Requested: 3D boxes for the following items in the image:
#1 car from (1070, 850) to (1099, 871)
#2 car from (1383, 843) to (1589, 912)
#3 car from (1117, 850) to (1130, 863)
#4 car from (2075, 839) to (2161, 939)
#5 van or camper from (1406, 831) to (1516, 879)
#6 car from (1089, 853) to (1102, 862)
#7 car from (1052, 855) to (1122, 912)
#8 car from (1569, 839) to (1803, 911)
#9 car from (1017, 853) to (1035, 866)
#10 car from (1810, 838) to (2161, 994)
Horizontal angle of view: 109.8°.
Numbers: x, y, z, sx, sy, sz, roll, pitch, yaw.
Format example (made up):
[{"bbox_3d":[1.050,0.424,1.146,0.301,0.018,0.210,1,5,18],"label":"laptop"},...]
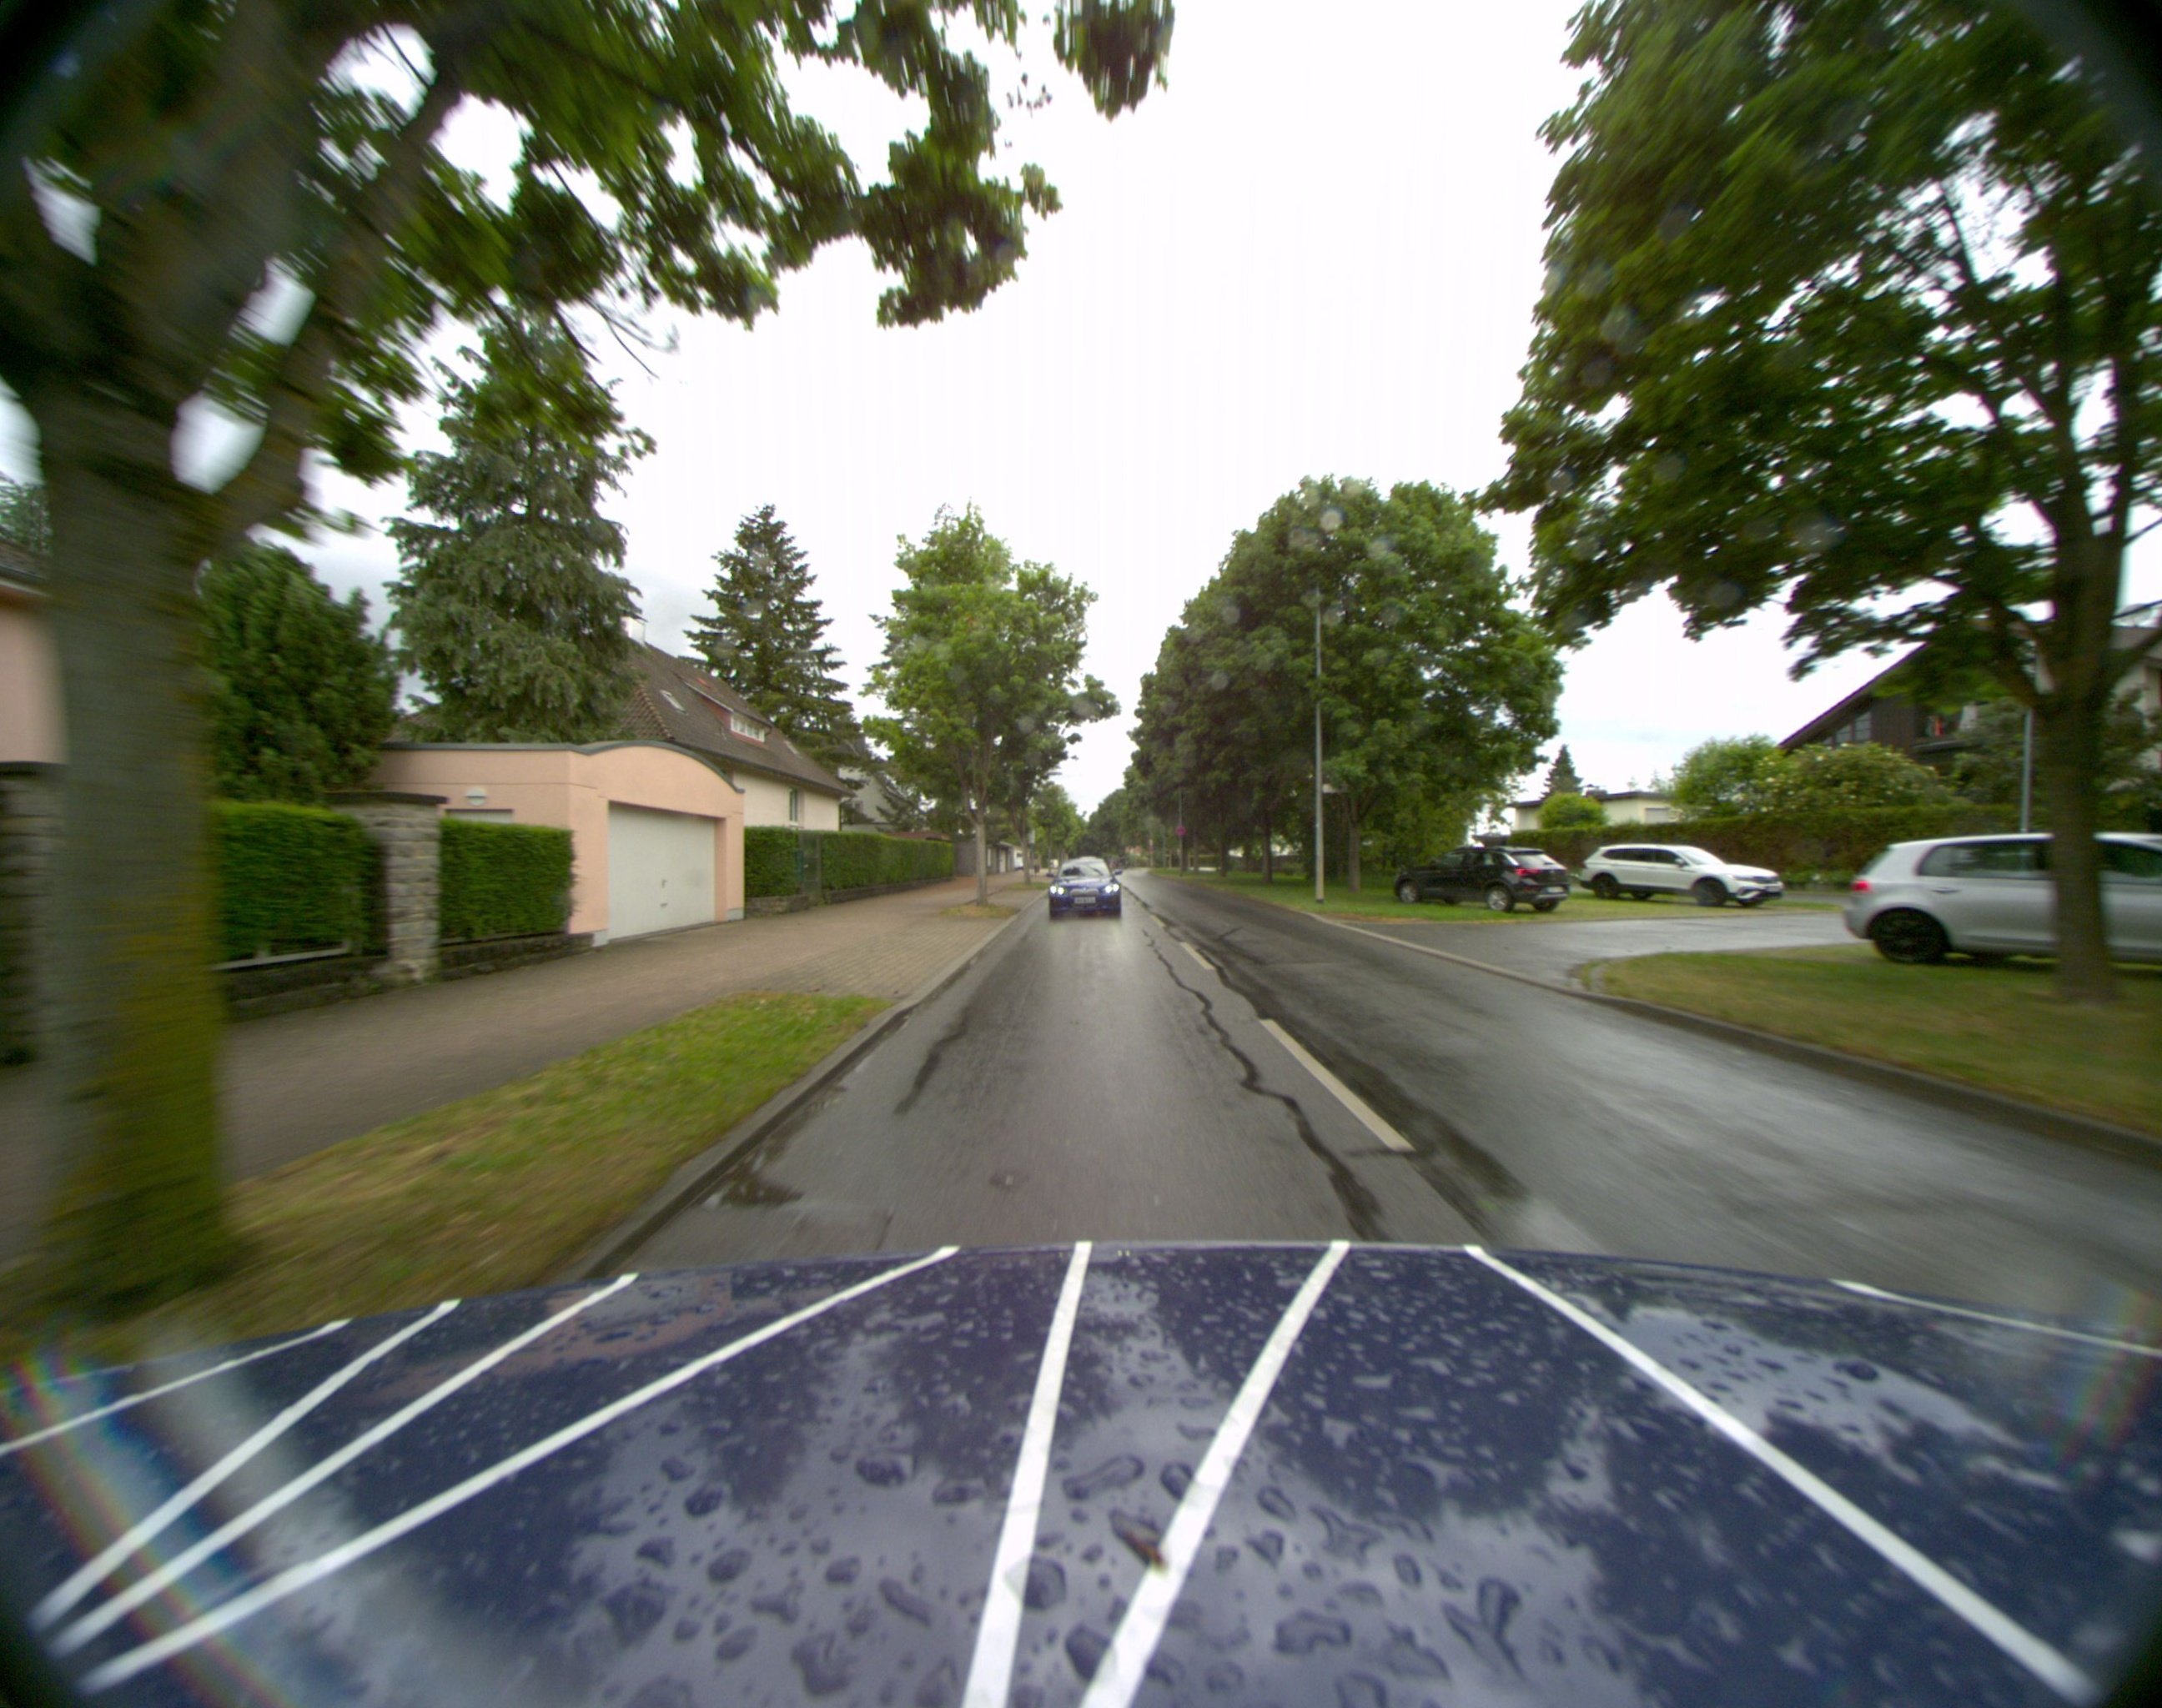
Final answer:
[{"bbox_3d":[0.222,0.435,53.452,1.929,1.374,4.307,-3,1,-1],"label":"car"},{"bbox_3d":[9.854,0.497,18.892,1.897,1.505,4.240,0,0,-24],"label":"car"},{"bbox_3d":[6.272,0.360,112.886,1.780,1.763,4.287,-1,0,5],"label":"car"},{"bbox_3d":[17.589,0.464,10.324,1.870,1.499,4.599,0,-2,-22],"label":"car"},{"bbox_3d":[19.920,0.058,40.236,2.096,2.322,6.149,0,0,-8],"label":"van or camper"},{"bbox_3d":[2.616,0.661,139.643,1.715,1.588,4.168,-1,0,-9],"label":"car"},{"bbox_3d":[0.209,0.787,22.082,1.815,1.459,3.975,-1,0,1],"label":"car"},{"bbox_3d":[16.908,0.474,21.616,1.911,1.760,4.889,0,2,-19],"label":"car"},{"bbox_3d":[-6.237,0.578,86.301,1.666,1.413,4.000,-3,0,1],"label":"car"},{"bbox_3d":[10.587,0.583,7.688,1.888,1.421,4.212,0,-2,-17],"label":"car"}]
